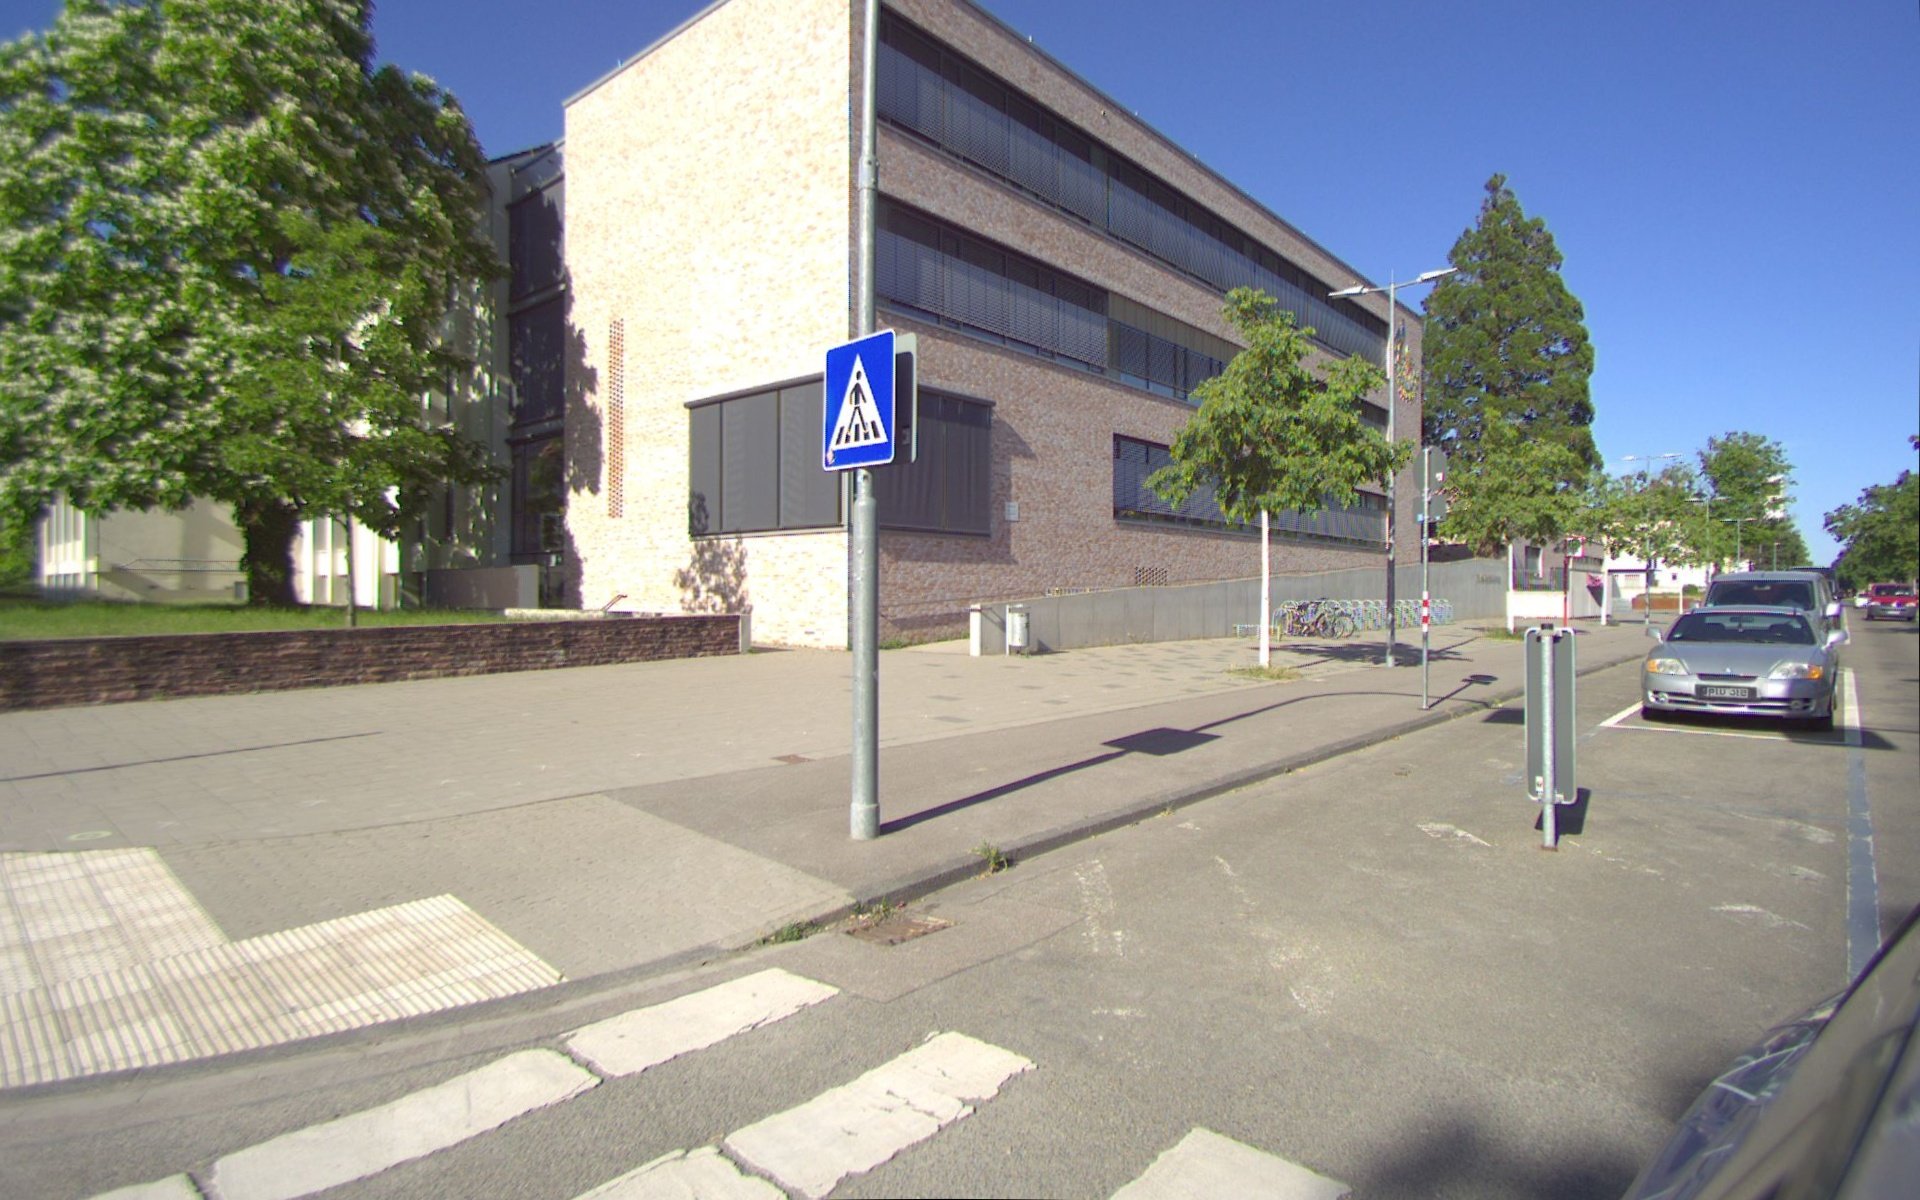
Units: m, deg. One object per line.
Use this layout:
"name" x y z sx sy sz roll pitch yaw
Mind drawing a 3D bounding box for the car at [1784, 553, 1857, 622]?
"car" 35.721 -0.526 41.929 2.068 2.631 6.107 0 1 43

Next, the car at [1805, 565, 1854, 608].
"car" 55.274 -0.873 64.302 2.189 2.631 5.951 0 1 43

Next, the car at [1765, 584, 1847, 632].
"car" 26.888 0.212 32.111 1.820 1.438 3.978 0 1 43

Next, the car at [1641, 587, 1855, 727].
"car" 9.603 0.525 12.161 1.648 1.349 4.858 0 1 43

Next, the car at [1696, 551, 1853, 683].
"car" 13.927 0.217 17.200 1.783 1.934 4.555 0 1 43

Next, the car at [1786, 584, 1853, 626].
"car" 31.194 0.137 36.684 1.710 1.438 3.863 0 1 43

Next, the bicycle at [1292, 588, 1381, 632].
"bicycle" 10.300 0.244 27.741 2.079 1.077 0.847 4 3 43

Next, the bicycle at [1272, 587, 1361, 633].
"bicycle" 9.431 0.249 26.815 2.024 1.076 0.870 4 3 41

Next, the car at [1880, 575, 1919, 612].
"car" 49.503 -0.355 52.780 4.663 1.901 2.018 -1 1 -45
